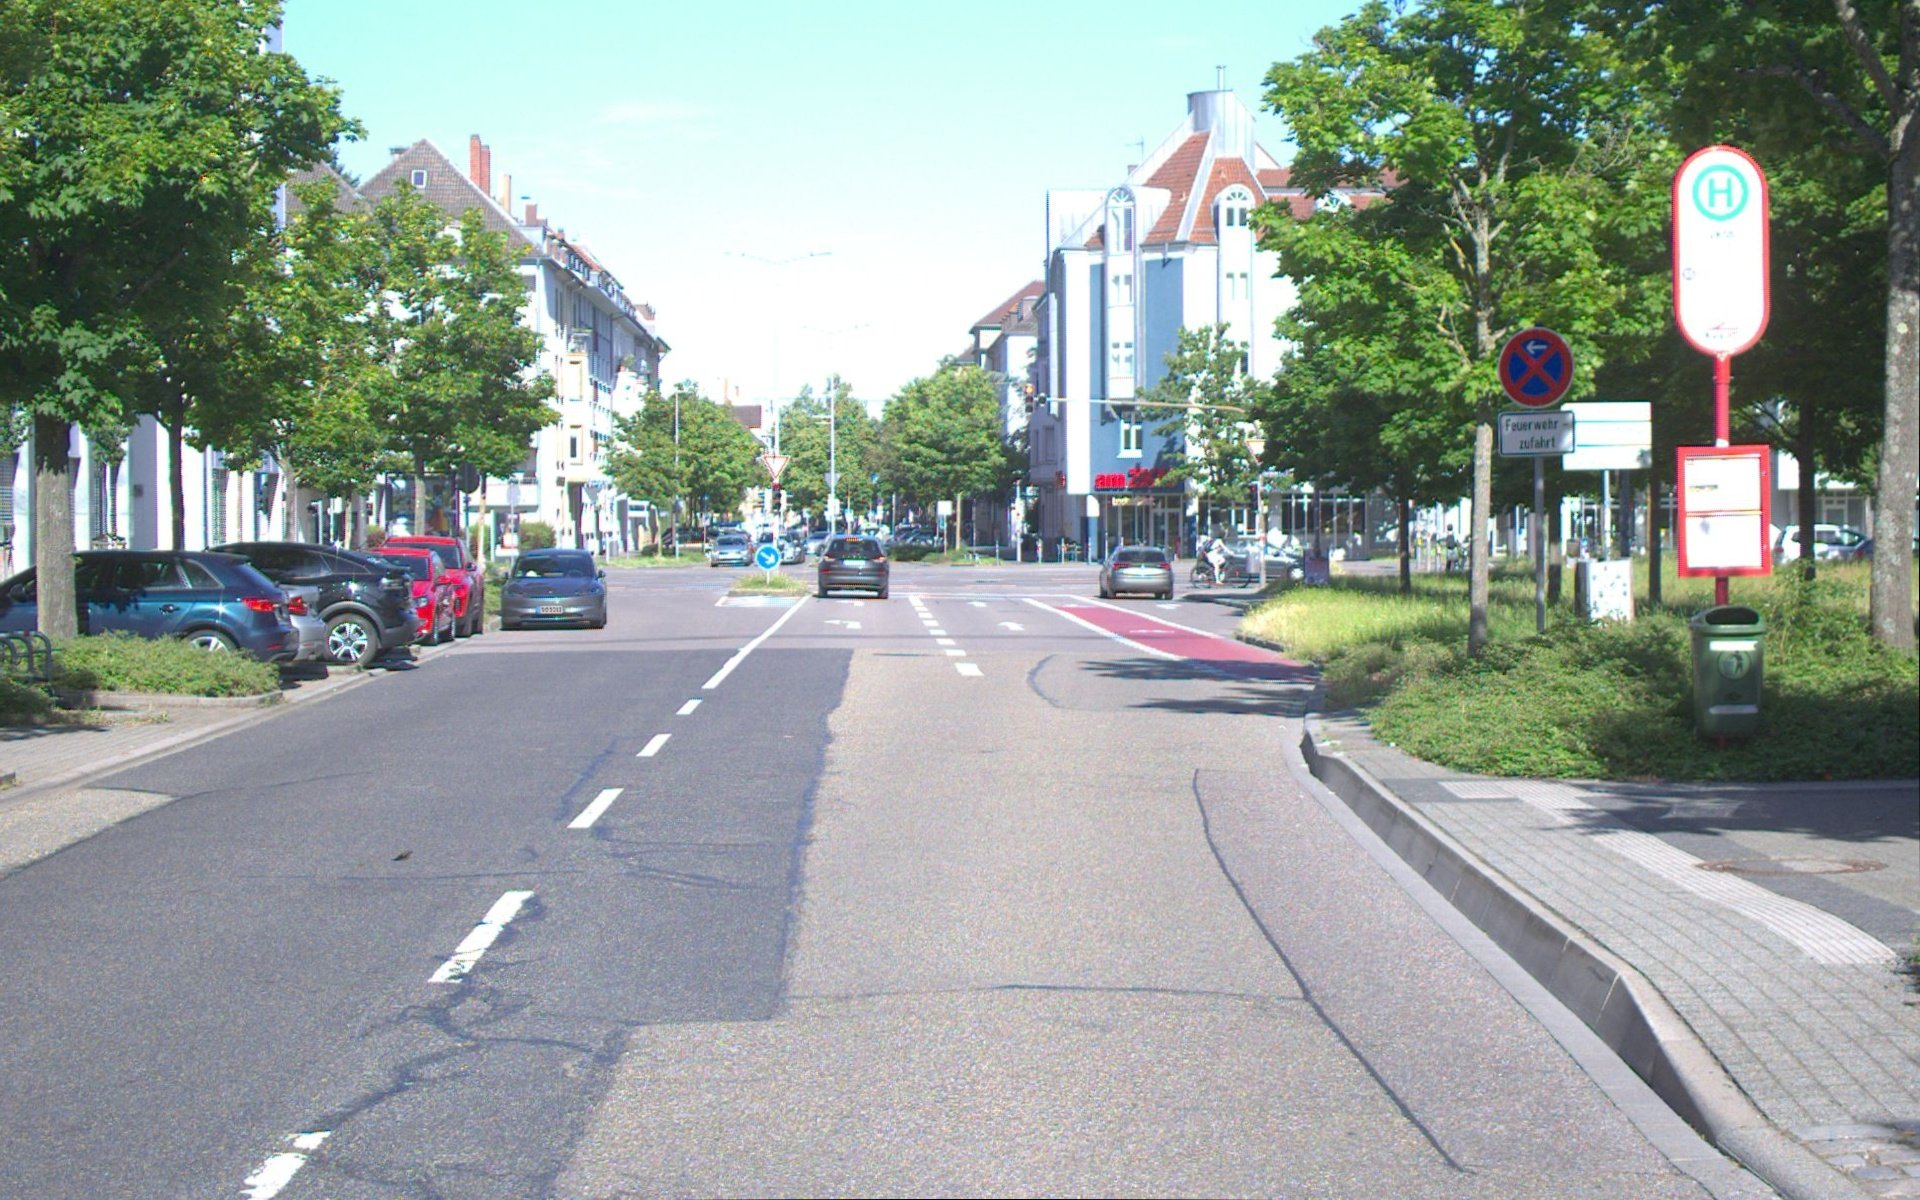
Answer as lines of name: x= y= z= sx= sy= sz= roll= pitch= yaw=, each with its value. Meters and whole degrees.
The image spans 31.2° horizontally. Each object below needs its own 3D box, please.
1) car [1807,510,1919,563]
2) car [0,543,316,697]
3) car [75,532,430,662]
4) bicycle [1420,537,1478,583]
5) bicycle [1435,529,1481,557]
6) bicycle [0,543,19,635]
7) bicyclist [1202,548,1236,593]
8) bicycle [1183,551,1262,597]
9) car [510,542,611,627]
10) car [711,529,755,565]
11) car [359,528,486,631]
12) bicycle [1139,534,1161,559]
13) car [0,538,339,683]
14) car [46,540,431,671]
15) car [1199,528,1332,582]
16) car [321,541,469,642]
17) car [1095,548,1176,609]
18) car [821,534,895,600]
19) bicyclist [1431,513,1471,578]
car: x=29.318 y=-2.012 z=110.319 sx=3.859 sy=1.572 sz=1.693 roll=2 pitch=1 yaw=3
car: x=-8.937 y=0.170 z=35.223 sx=4.384 sy=1.427 sz=1.694 roll=2 pitch=1 yaw=-4
car: x=-9.229 y=-0.053 z=45.114 sx=4.384 sy=1.533 sz=1.694 roll=2 pitch=1 yaw=-6
bicycle: x=14.869 y=-1.229 z=104.501 sx=0.792 sy=1.343 sz=2.258 roll=0 pitch=1 yaw=36
bicycle: x=21.447 y=-2.450 z=148.167 sx=1.863 sy=1.178 sz=0.562 roll=-1 pitch=1 yaw=-6
bicycle: x=-14.460 y=-0.151 z=50.092 sx=0.709 sy=1.342 sz=2.232 roll=-1 pitch=1 yaw=4
bicyclist: x=7.782 y=-0.898 z=103.340 sx=0.703 sy=1.343 sz=0.791 roll=0 pitch=1 yaw=33
bicycle: x=7.886 y=-0.784 z=103.264 sx=2.259 sy=1.343 sz=0.791 roll=0 pitch=1 yaw=33
car: x=-7.350 y=-0.318 z=63.500 sx=1.688 sy=1.463 sz=4.548 roll=-1 pitch=1 yaw=-5
car: x=-10.481 y=-2.448 z=158.681 sx=1.754 sy=1.550 sz=3.731 roll=2 pitch=1 yaw=-1
car: x=-8.978 y=-0.371 z=57.717 sx=1.688 sy=1.601 sz=4.311 roll=2 pitch=1 yaw=-4
bicycle: x=7.853 y=-2.214 z=141.890 sx=0.471 sy=1.023 sz=1.517 roll=-1 pitch=1 yaw=-14
car: x=-9.167 y=0.088 z=37.651 sx=4.385 sy=1.427 sz=1.694 roll=2 pitch=1 yaw=0
car: x=-8.779 y=0.054 z=42.076 sx=4.384 sy=1.427 sz=1.694 roll=2 pitch=1 yaw=-4
car: x=9.608 y=-1.414 z=108.330 sx=3.950 sy=1.594 sz=1.676 roll=-1 pitch=1 yaw=-3
car: x=-8.603 y=-0.152 z=52.564 sx=1.688 sy=1.427 sz=3.872 roll=2 pitch=1 yaw=-2
car: x=4.800 y=-0.602 z=94.570 sx=1.688 sy=1.572 sz=3.872 roll=2 pitch=1 yaw=-5
car: x=-2.689 y=-0.883 z=89.747 sx=1.753 sy=1.622 sz=4.479 roll=2 pitch=1 yaw=-3
bicyclist: x=14.940 y=-1.648 z=104.610 sx=0.792 sy=1.952 sz=1.009 roll=0 pitch=1 yaw=36
